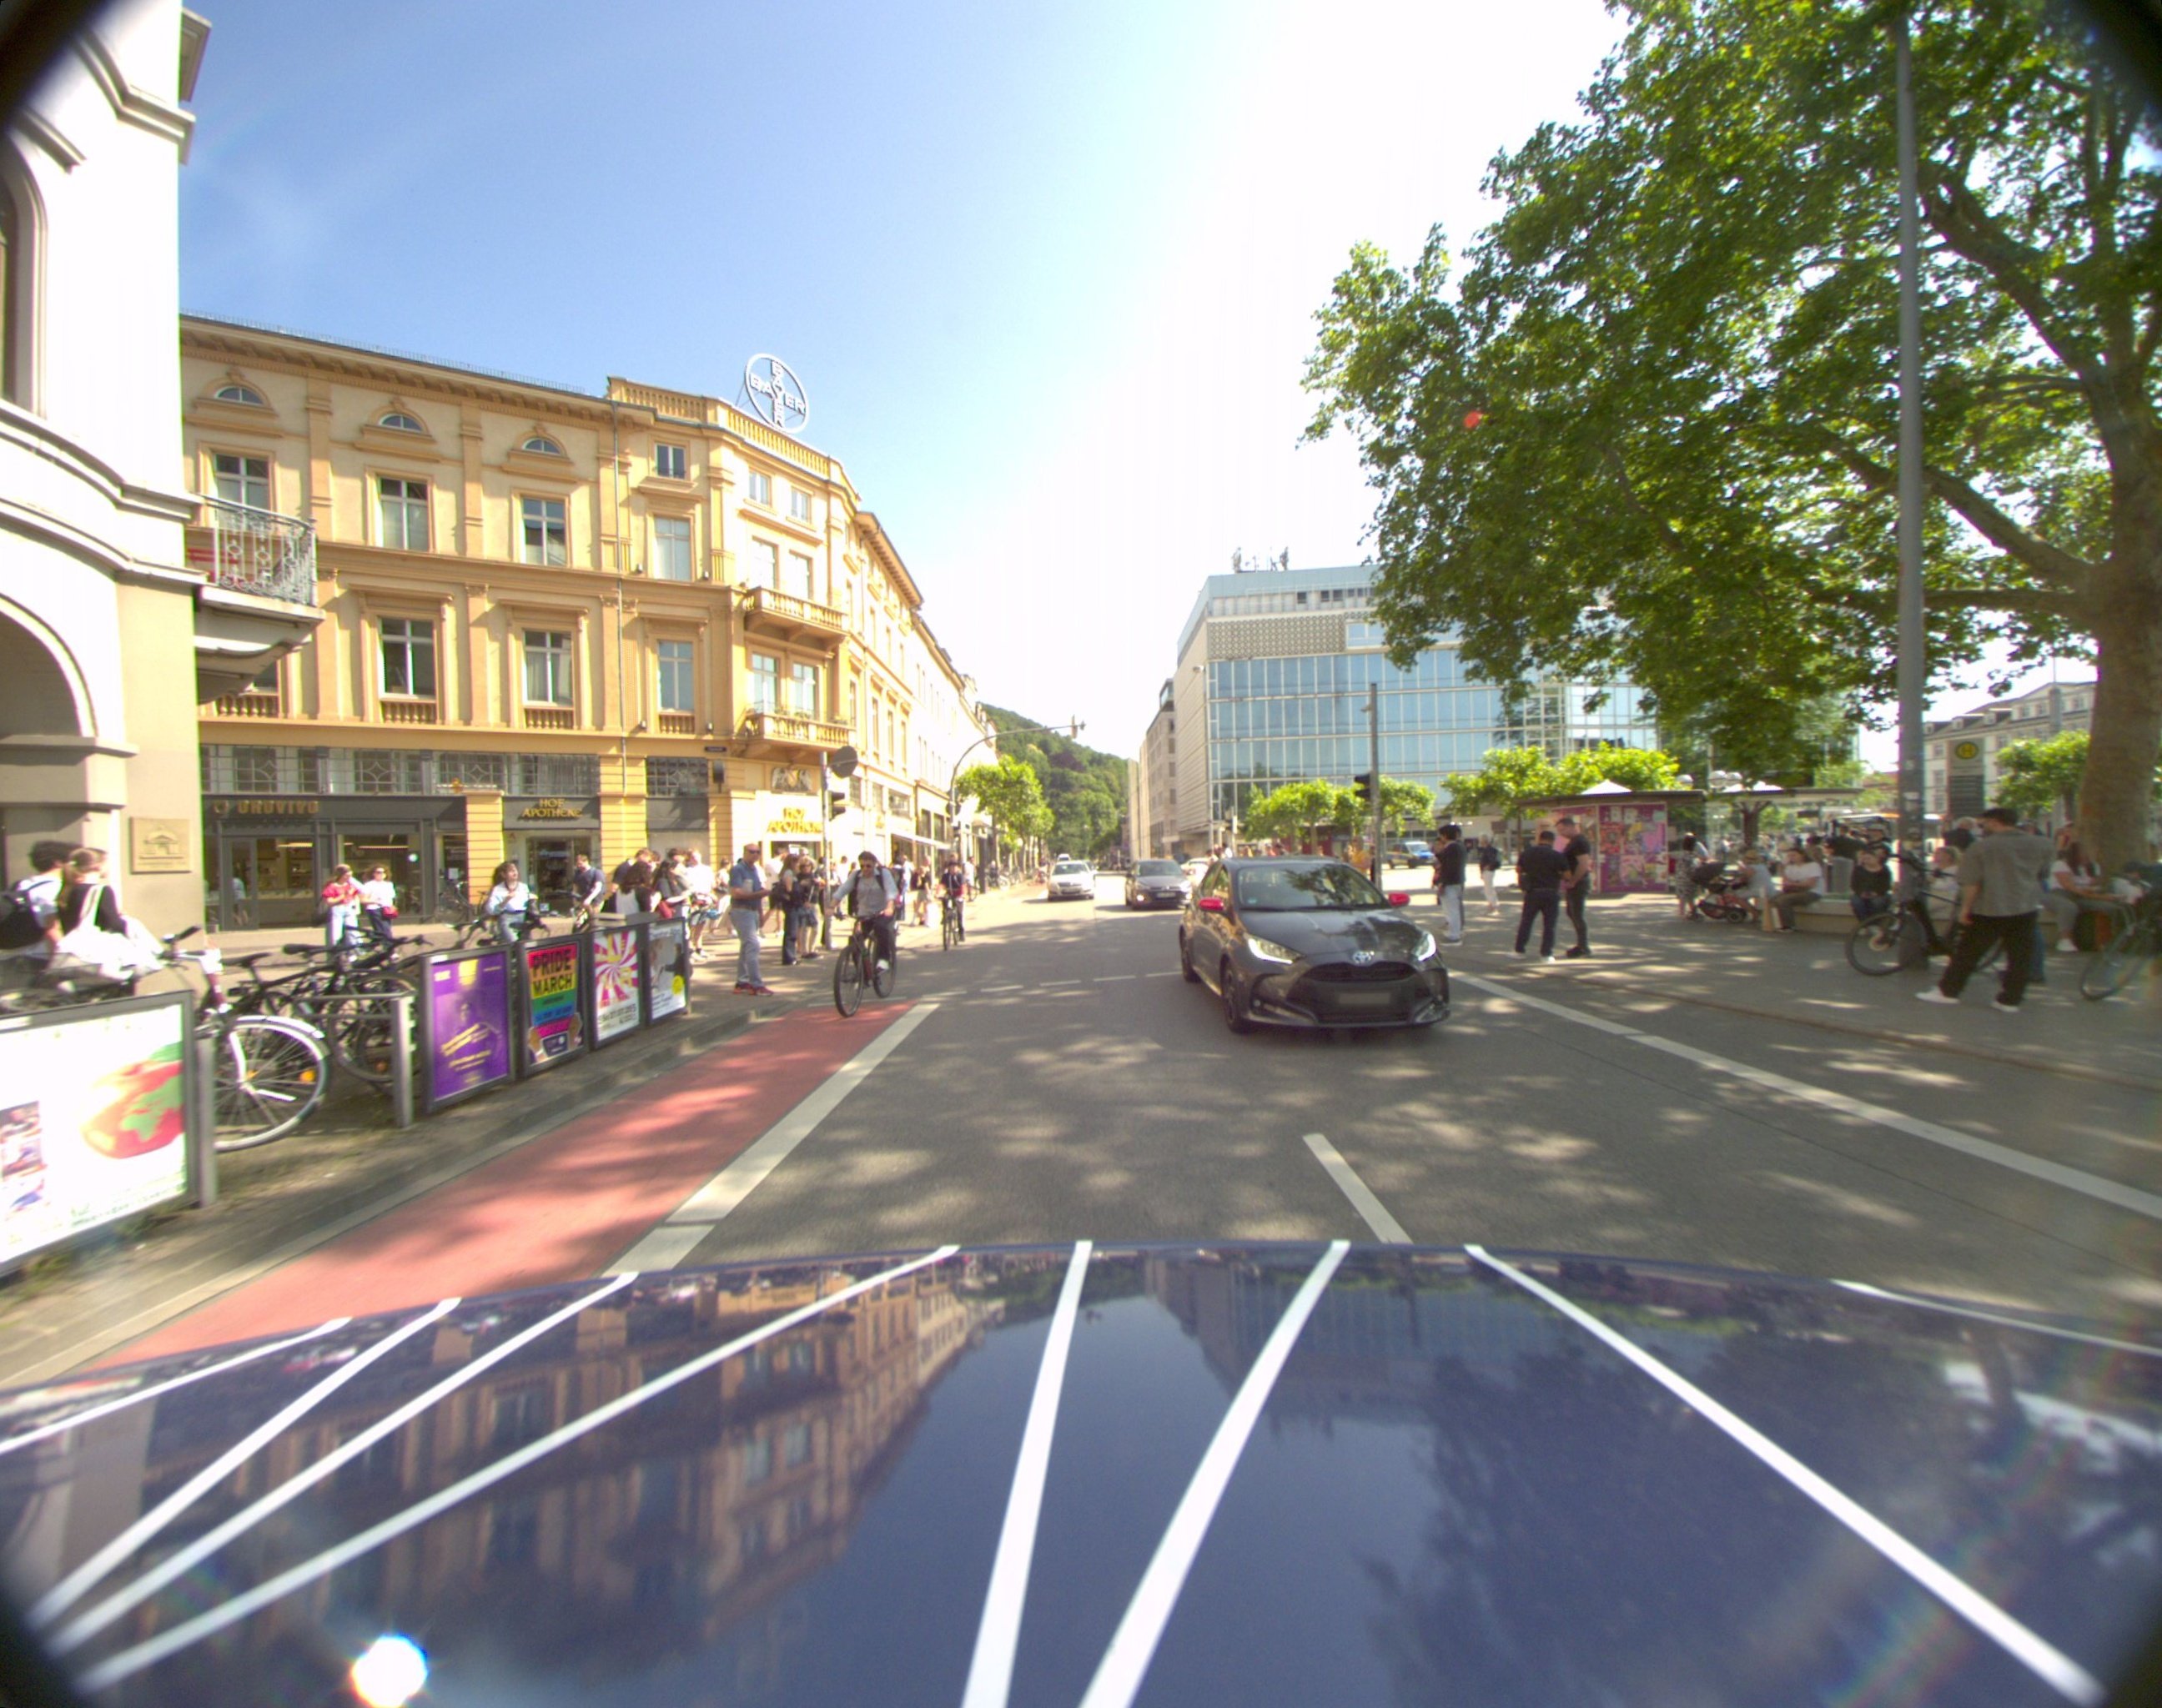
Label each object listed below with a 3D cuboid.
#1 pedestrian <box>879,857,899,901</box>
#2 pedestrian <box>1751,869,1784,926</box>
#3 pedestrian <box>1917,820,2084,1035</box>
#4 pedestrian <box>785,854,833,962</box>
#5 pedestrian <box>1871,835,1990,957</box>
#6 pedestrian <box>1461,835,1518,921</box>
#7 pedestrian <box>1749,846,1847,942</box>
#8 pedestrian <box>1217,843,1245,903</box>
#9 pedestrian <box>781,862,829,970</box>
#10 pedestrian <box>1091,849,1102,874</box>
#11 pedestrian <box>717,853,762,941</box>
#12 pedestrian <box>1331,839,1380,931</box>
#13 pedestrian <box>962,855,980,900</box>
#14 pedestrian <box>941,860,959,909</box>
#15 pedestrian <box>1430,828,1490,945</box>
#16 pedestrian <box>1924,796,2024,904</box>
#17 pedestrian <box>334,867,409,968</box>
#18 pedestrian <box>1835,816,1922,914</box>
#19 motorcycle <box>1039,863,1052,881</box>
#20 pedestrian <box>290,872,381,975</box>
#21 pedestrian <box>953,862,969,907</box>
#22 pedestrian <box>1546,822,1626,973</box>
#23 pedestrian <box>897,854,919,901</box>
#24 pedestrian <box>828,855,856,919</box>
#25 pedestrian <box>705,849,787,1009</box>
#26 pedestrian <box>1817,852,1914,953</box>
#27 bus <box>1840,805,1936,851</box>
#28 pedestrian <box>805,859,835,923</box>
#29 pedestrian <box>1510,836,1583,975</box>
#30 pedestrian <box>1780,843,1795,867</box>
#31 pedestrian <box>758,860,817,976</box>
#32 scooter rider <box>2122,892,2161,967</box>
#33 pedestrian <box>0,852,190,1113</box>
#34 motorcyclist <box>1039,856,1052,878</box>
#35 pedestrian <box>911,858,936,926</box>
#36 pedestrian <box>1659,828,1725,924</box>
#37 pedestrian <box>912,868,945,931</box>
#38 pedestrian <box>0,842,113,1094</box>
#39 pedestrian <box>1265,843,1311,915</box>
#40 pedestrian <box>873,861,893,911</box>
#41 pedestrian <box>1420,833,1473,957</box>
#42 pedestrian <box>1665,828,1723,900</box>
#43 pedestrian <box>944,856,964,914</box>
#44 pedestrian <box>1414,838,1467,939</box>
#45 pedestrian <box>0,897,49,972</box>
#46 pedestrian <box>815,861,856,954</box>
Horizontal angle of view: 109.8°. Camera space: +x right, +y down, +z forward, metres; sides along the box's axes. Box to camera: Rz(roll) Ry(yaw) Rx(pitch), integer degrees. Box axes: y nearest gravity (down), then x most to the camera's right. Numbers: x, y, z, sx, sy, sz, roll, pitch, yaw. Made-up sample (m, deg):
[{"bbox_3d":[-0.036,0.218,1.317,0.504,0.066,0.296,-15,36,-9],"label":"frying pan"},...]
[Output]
[{"bbox_3d":[-7.495,0.955,29.633,0.688,1.675,0.578,-2,1,-11],"label":"pedestrian"},{"bbox_3d":[11.948,0.761,13.225,0.339,0.961,0.282,-3,1,30],"label":"pedestrian"},{"bbox_3d":[7.734,0.583,6.408,0.643,1.682,0.642,-4,1,-14],"label":"pedestrian"},{"bbox_3d":[-4.620,0.895,12.930,0.578,1.774,0.699,0,1,-4],"label":"pedestrian"},{"bbox_3d":[11.834,0.559,10.605,0.752,1.587,0.782,-4,1,-11],"label":"pedestrian"},{"bbox_3d":[8.652,0.502,16.119,0.751,1.737,0.666,-3,1,-2],"label":"pedestrian"},{"bbox_3d":[11.237,0.608,11.928,0.752,1.399,0.782,-4,1,-11],"label":"pedestrian"},{"bbox_3d":[4.879,0.616,24.727,0.639,1.903,0.733,-3,1,-2],"label":"pedestrian"},{"bbox_3d":[-4.390,0.963,12.108,0.569,1.675,0.590,0,1,-4],"label":"pedestrian"},{"bbox_3d":[1.100,0.504,54.021,0.699,1.774,0.578,0,1,-6],"label":"pedestrian"},{"bbox_3d":[-7.385,0.919,16.447,0.578,1.835,0.622,-3,1,0],"label":"pedestrian"},{"bbox_3d":[5.357,0.593,14.866,0.612,1.737,0.752,-2,1,-2],"label":"pedestrian"},{"bbox_3d":[-4.370,0.927,30.068,0.651,1.770,0.621,0,2,-12],"label":"pedestrian"},{"bbox_3d":[-4.540,1.032,26.280,0.578,1.674,0.676,0,0,-12],"label":"pedestrian"},{"bbox_3d":[6.171,0.513,12.413,0.595,1.835,0.738,-1,1,-2],"label":"pedestrian"},{"bbox_3d":[15.130,-0.060,12.892,0.752,1.737,0.782,-4,1,-11],"label":"pedestrian"},{"bbox_3d":[-12.907,1.140,13.839,0.578,1.744,0.699,-3,1,0],"label":"pedestrian"},{"bbox_3d":[14.817,0.195,14.135,0.752,1.737,0.782,-4,1,-11],"label":"pedestrian"},{"bbox_3d":[-2.364,1.182,50.380,0.736,1.086,1.897,-3,1,0],"label":"motorcycle"},{"bbox_3d":[-12.569,1.151,12.836,0.798,1.638,0.622,-3,1,0],"label":"pedestrian"},{"bbox_3d":[-4.280,1.069,27.019,0.531,1.586,0.588,0,1,-12],"label":"pedestrian"},{"bbox_3d":[6.400,0.531,9.662,0.517,1.825,0.716,-3,1,7],"label":"pedestrian"},{"bbox_3d":[-6.743,0.896,29.665,0.758,1.782,0.859,-2,0,-9],"label":"pedestrian"},{"bbox_3d":[-6.854,0.934,21.819,0.578,1.804,0.605,1,1,2],"label":"pedestrian"},{"bbox_3d":[-4.042,0.875,9.217,0.578,1.835,0.717,-3,1,-4],"label":"pedestrian"},{"bbox_3d":[11.667,0.698,11.315,0.752,1.416,0.673,-4,1,-11],"label":"pedestrian"},{"bbox_3d":[57.843,-1.919,54.334,12.202,2.774,2.384,-4,1,-33],"label":"bus"},{"bbox_3d":[-7.237,1.007,21.080,0.578,1.716,0.622,-2,1,0],"label":"pedestrian"},{"bbox_3d":[5.774,0.618,9.463,0.630,1.639,0.753,-3,1,25],"label":"pedestrian"},{"bbox_3d":[44.252,0.047,47.577,0.554,1.464,0.759,-3,1,36],"label":"pedestrian"},{"bbox_3d":[-4.465,0.954,11.601,0.578,1.675,0.622,-3,1,-4],"label":"pedestrian"},{"bbox_3d":[12.552,0.869,8.784,0.506,0.834,0.349,-3,1,33],"label":"scooter rider"},{"bbox_3d":[-7.272,0.873,5.480,0.676,1.730,0.753,-3,1,-2],"label":"pedestrian"},{"bbox_3d":[-2.376,0.860,50.322,0.736,1.446,0.707,-3,1,0],"label":"motorcyclist"},{"bbox_3d":[-4.039,0.970,19.516,0.578,1.719,0.718,1,-1,-8],"label":"pedestrian"},{"bbox_3d":[11.523,0.404,14.355,0.750,1.737,0.784,-3,1,26],"label":"pedestrian"},{"bbox_3d":[-3.773,1.109,18.787,0.673,1.488,0.637,3,0,-15],"label":"pedestrian"},{"bbox_3d":[-8.000,0.821,5.548,0.721,1.772,0.776,-3,1,-3],"label":"pedestrian"},{"bbox_3d":[5.257,0.625,19.355,0.876,1.737,0.733,-3,1,-2],"label":"pedestrian"},{"bbox_3d":[-6.659,1.066,25.525,0.578,1.650,0.621,-2,0,-12],"label":"pedestrian"},{"bbox_3d":[5.474,0.592,11.373,0.537,1.773,0.745,-3,1,34],"label":"pedestrian"},{"bbox_3d":[15.500,0.242,19.223,0.751,1.737,0.782,-3,1,-2],"label":"pedestrian"},{"bbox_3d":[-4.092,0.992,24.543,0.578,1.863,0.680,1,0,-12],"label":"pedestrian"},{"bbox_3d":[6.235,0.586,13.194,0.604,1.705,0.606,-1,1,-2],"label":"pedestrian"},{"bbox_3d":[-23.582,1.782,16.795,0.578,1.580,0.622,-3,1,0],"label":"pedestrian"},{"bbox_3d":[-4.517,0.964,13.997,0.578,1.675,0.669,0,1,-4],"label":"pedestrian"}]
